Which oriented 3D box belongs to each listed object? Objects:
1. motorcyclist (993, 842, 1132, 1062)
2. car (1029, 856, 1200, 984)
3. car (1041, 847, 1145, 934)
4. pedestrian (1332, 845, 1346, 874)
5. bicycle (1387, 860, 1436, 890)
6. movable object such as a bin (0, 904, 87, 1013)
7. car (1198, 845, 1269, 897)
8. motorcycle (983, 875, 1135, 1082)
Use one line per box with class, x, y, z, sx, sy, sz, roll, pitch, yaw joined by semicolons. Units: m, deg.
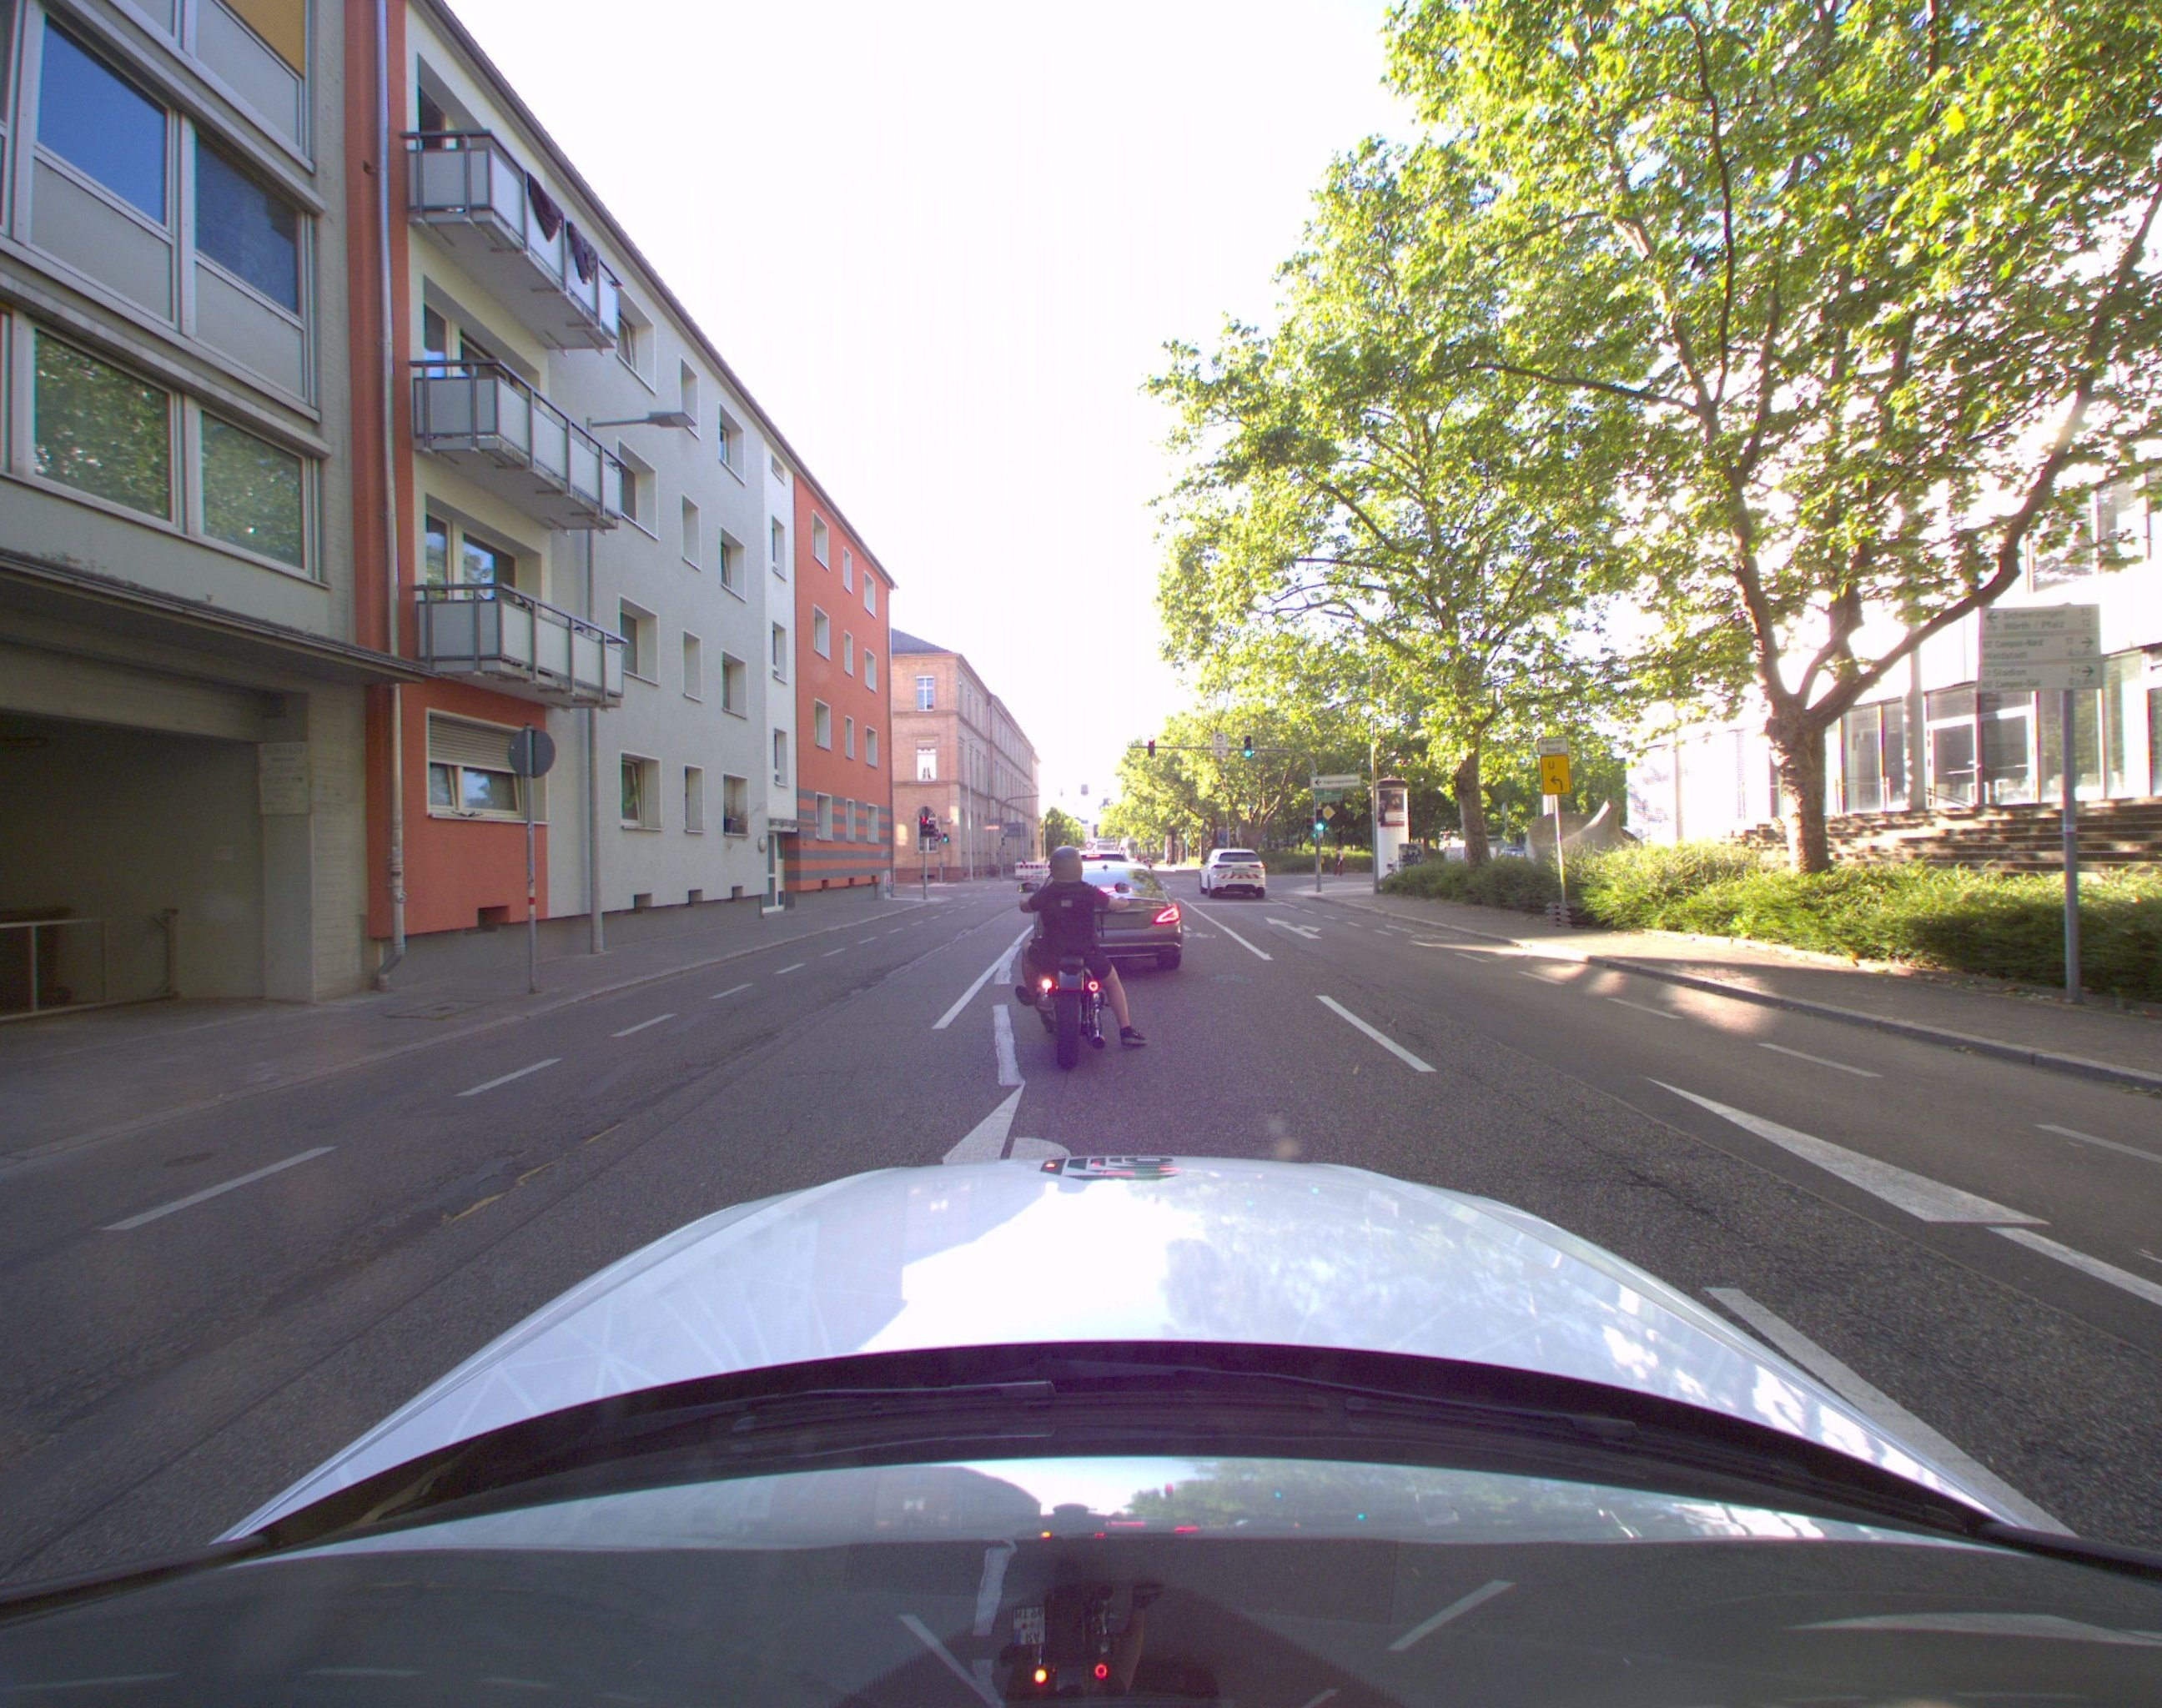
motorcyclist;-0.112;0.710;6.536;0.977;1.578;1.249;-1;0;1
car;0.262;0.773;11.744;1.867;1.444;4.421;-1;0;-6
car;0.288;0.725;17.671;1.986;1.665;4.001;0;-1;2
pedestrian;15.699;0.325;49.535;0.671;1.772;0.621;-1;-1;31
bicycle;11.077;0.709;27.323;1.475;0.980;0.300;0;-1;7
movable object such as a bin;-11.290;1.094;8.645;0.639;1.065;0.675;-1;0;1
car;5.358;0.550;29.150;1.935;1.708;4.487;0;0;3
motorcycle;-0.107;0.849;6.549;0.977;1.275;2.408;-1;0;2
